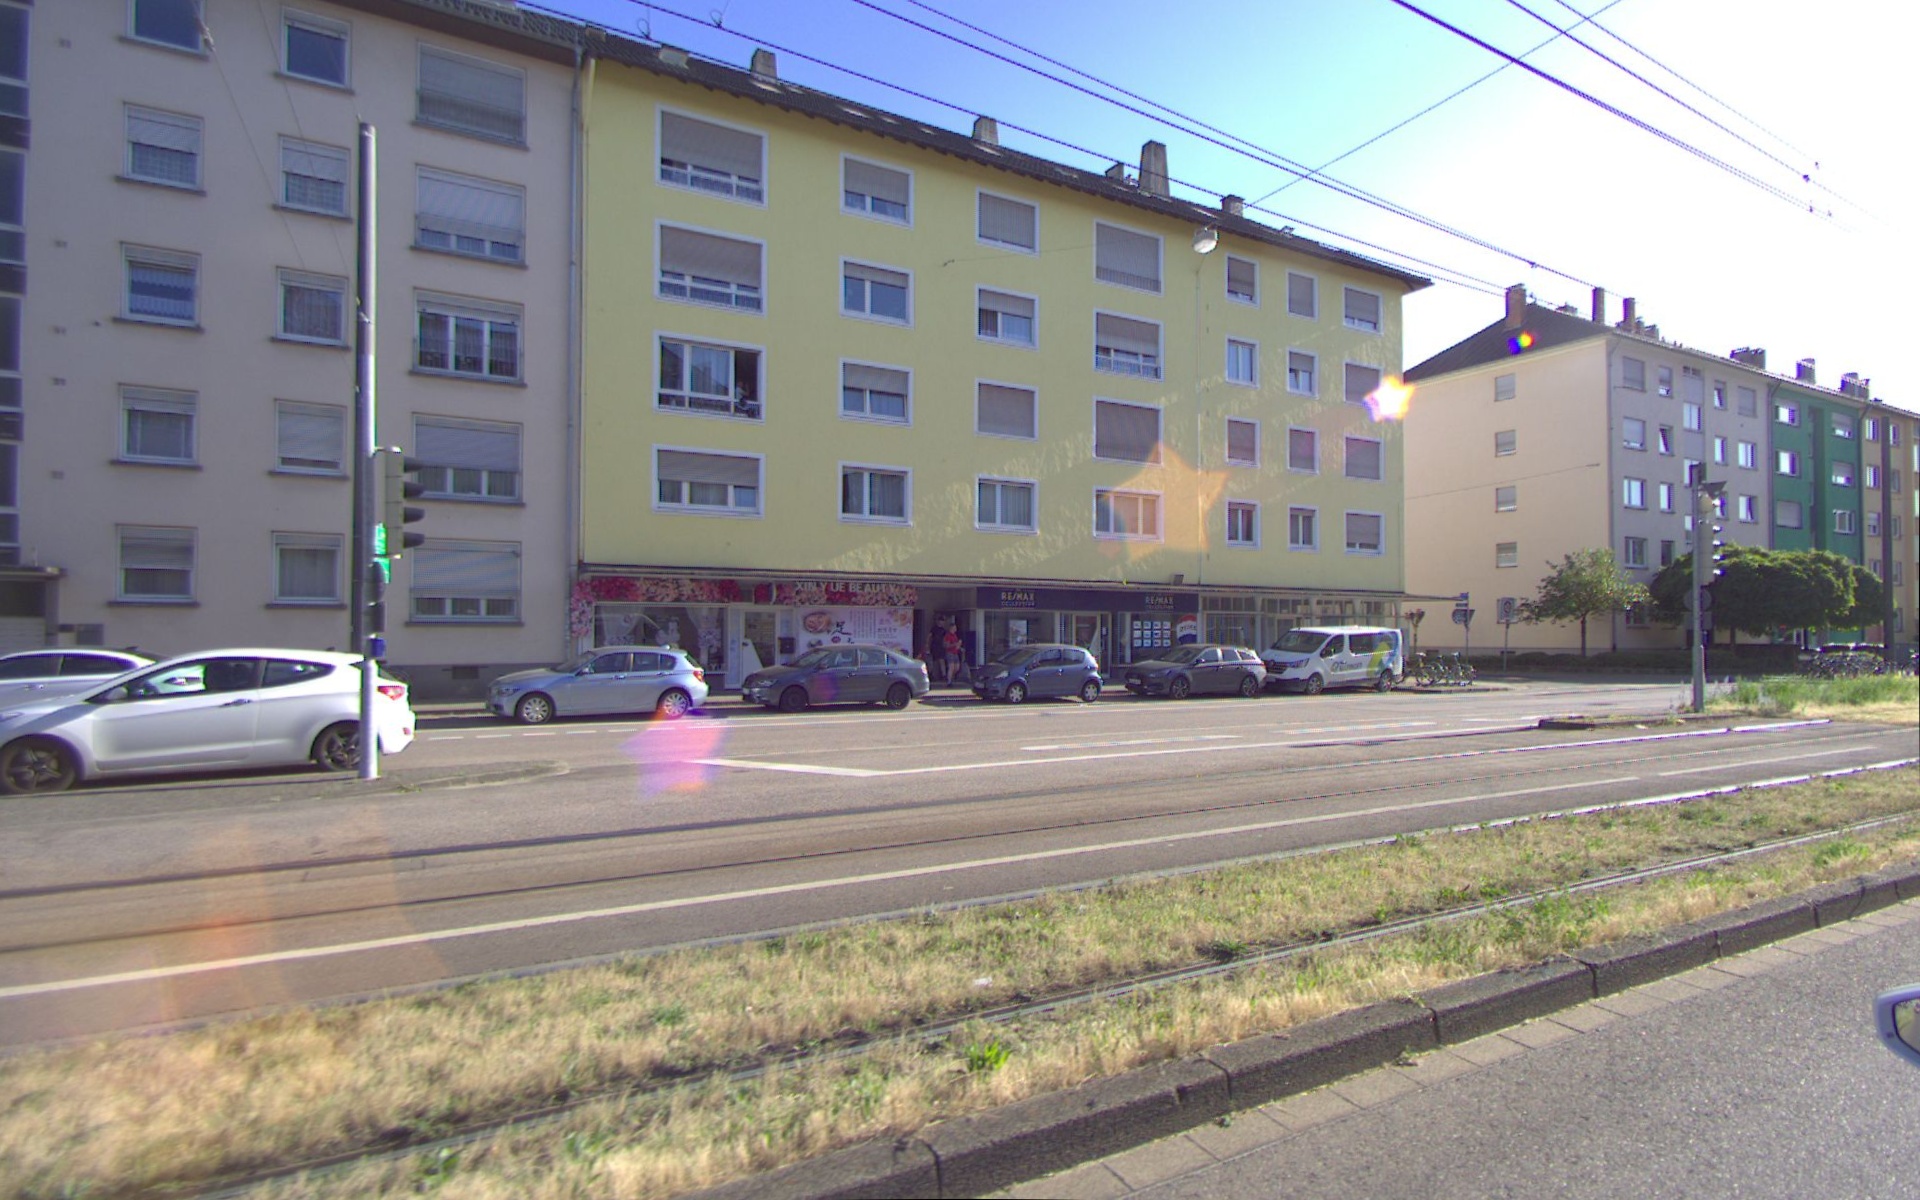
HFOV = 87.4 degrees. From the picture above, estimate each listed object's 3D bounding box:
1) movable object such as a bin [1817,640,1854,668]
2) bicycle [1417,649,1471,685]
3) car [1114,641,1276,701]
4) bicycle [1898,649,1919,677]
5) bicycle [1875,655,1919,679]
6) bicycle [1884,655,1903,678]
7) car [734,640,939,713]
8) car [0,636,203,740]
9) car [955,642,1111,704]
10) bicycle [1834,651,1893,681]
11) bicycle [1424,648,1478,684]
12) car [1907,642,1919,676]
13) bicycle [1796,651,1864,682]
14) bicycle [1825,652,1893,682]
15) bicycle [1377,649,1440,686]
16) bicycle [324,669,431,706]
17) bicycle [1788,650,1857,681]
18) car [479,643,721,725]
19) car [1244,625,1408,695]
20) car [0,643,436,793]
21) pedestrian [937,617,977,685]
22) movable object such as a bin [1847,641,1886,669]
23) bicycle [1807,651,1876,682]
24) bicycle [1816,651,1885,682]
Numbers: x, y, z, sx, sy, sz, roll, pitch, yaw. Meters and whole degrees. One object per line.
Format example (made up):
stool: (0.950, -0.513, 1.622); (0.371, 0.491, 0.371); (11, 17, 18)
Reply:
movable object such as a bin: (45.775, 2.799, 52.527); (1.026, 1.386, 1.143); (1, 0, -27)
bicycle: (16.763, 2.302, 34.840); (0.385, 1.120, 1.811); (1, 0, -28)
car: (6.751, 1.990, 28.772); (4.541, 1.494, 1.774); (1, 0, -30)
bicycle: (39.863, 2.641, 42.182); (1.921, 1.107, 0.505); (1, 1, -41)
bicycle: (39.368, 2.798, 42.131); (0.410, 0.881, 1.585); (1, 0, -7)
bicycle: (39.457, 2.799, 42.461); (2.038, 0.877, 0.373); (1, 1, -41)
car: (-2.830, 1.698, 23.238); (4.363, 1.439, 1.774); (1, 0, -30)
car: (-14.918, 1.368, 16.149); (4.150, 1.506, 1.750); (1, 0, -30)
car: (1.931, 1.869, 26.300); (3.723, 1.403, 1.774); (1, 0, -30)
bicycle: (38.465, 2.802, 42.781); (0.603, 1.107, 2.054); (1, 0, -2)
bicycle: (17.119, 2.279, 35.058); (0.385, 1.120, 1.811); (1, 0, -28)
car: (44.445, 2.674, 45.285); (3.692, 1.461, 1.627); (1, 0, -32)
bicycle: (35.423, 2.699, 40.935); (0.607, 1.107, 2.043); (1, 0, -23)
bicycle: (37.435, 2.785, 41.842); (0.607, 1.107, 2.043); (1, 0, -23)
bicycle: (15.185, 2.266, 34.041); (0.467, 1.120, 2.089); (1, 0, -28)
bicycle: (-12.502, 1.870, 21.617); (1.971, 0.702, 0.599); (1, 0, -30)
bicycle: (34.824, 2.639, 40.581); (0.607, 1.107, 2.043); (1, 0, -23)
car: (-7.285, 1.634, 20.446); (4.366, 1.403, 1.773); (1, 0, -32)
car: (11.621, 1.831, 31.751); (5.441, 1.975, 1.982); (1, 0, -33)
car: (-8.508, 1.224, 11.391); (4.372, 1.403, 1.822); (1, -3, -36)
pedestrian: (-0.090, 1.446, 28.560); (0.913, 1.885, 0.668); (1, 1, -30)
movable object such as a bin: (46.362, 2.815, 51.376); (1.026, 1.386, 1.143); (1, 0, -27)
bicycle: (36.174, 2.713, 41.244); (0.607, 1.107, 2.043); (1, 0, -23)
bicycle: (36.807, 2.744, 41.548); (0.607, 1.107, 2.043); (1, 0, -23)
